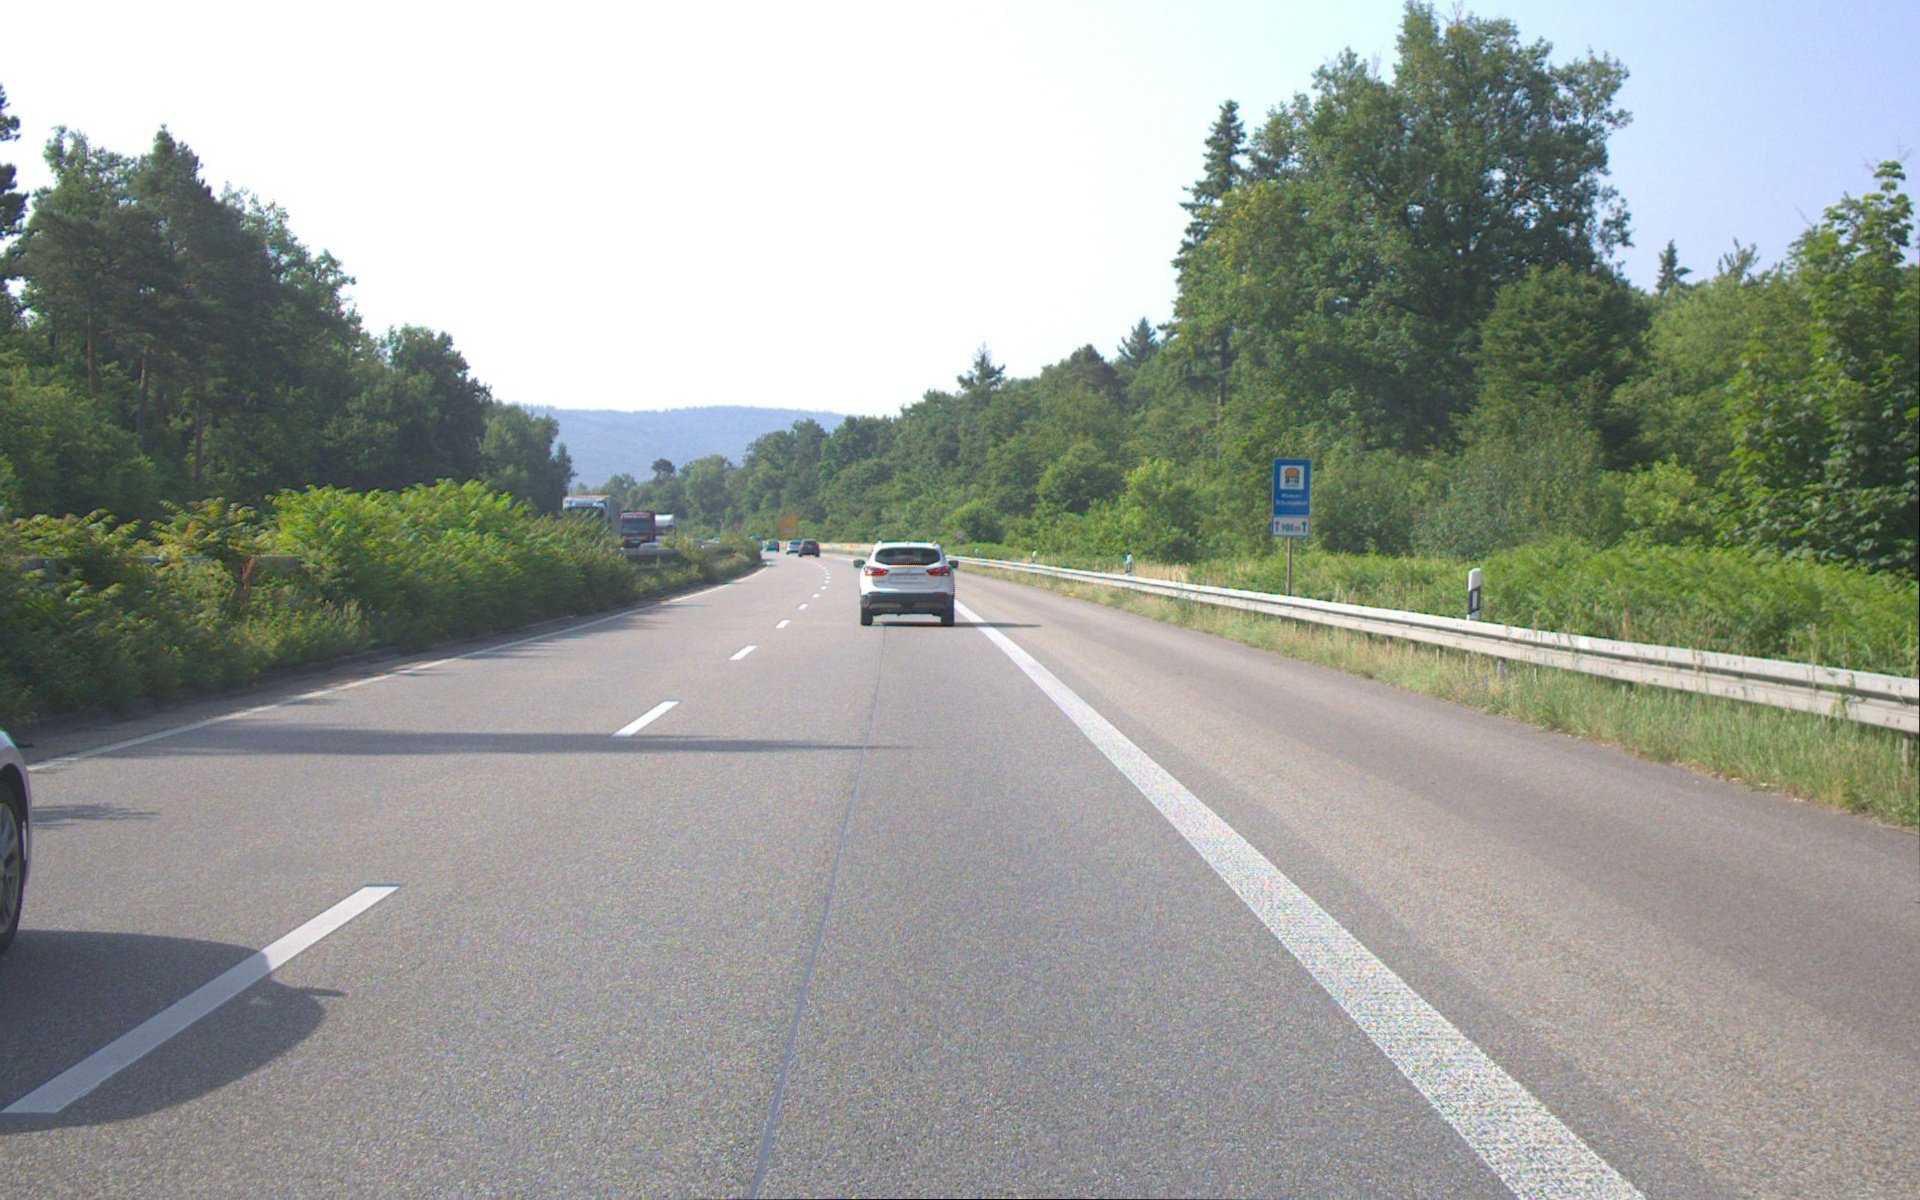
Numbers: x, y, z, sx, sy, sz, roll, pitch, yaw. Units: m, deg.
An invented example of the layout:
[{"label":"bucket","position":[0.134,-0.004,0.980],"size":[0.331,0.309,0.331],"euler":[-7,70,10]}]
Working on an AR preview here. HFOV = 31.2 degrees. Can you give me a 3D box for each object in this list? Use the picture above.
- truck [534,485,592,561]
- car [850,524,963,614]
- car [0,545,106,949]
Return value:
[{"label":"truck","position":[-22.199,-4.312,192.526],"size":[2.709,4.186,6.294],"euler":[-1,1,-2]},{"label":"car","position":[-1.062,-0.624,65.940],"size":[1.873,1.581,4.001],"euler":[2,1,-4]},{"label":"car","position":[-4.321,0.559,11.136],"size":[1.792,1.433,5.279],"euler":[0,1,0]}]
